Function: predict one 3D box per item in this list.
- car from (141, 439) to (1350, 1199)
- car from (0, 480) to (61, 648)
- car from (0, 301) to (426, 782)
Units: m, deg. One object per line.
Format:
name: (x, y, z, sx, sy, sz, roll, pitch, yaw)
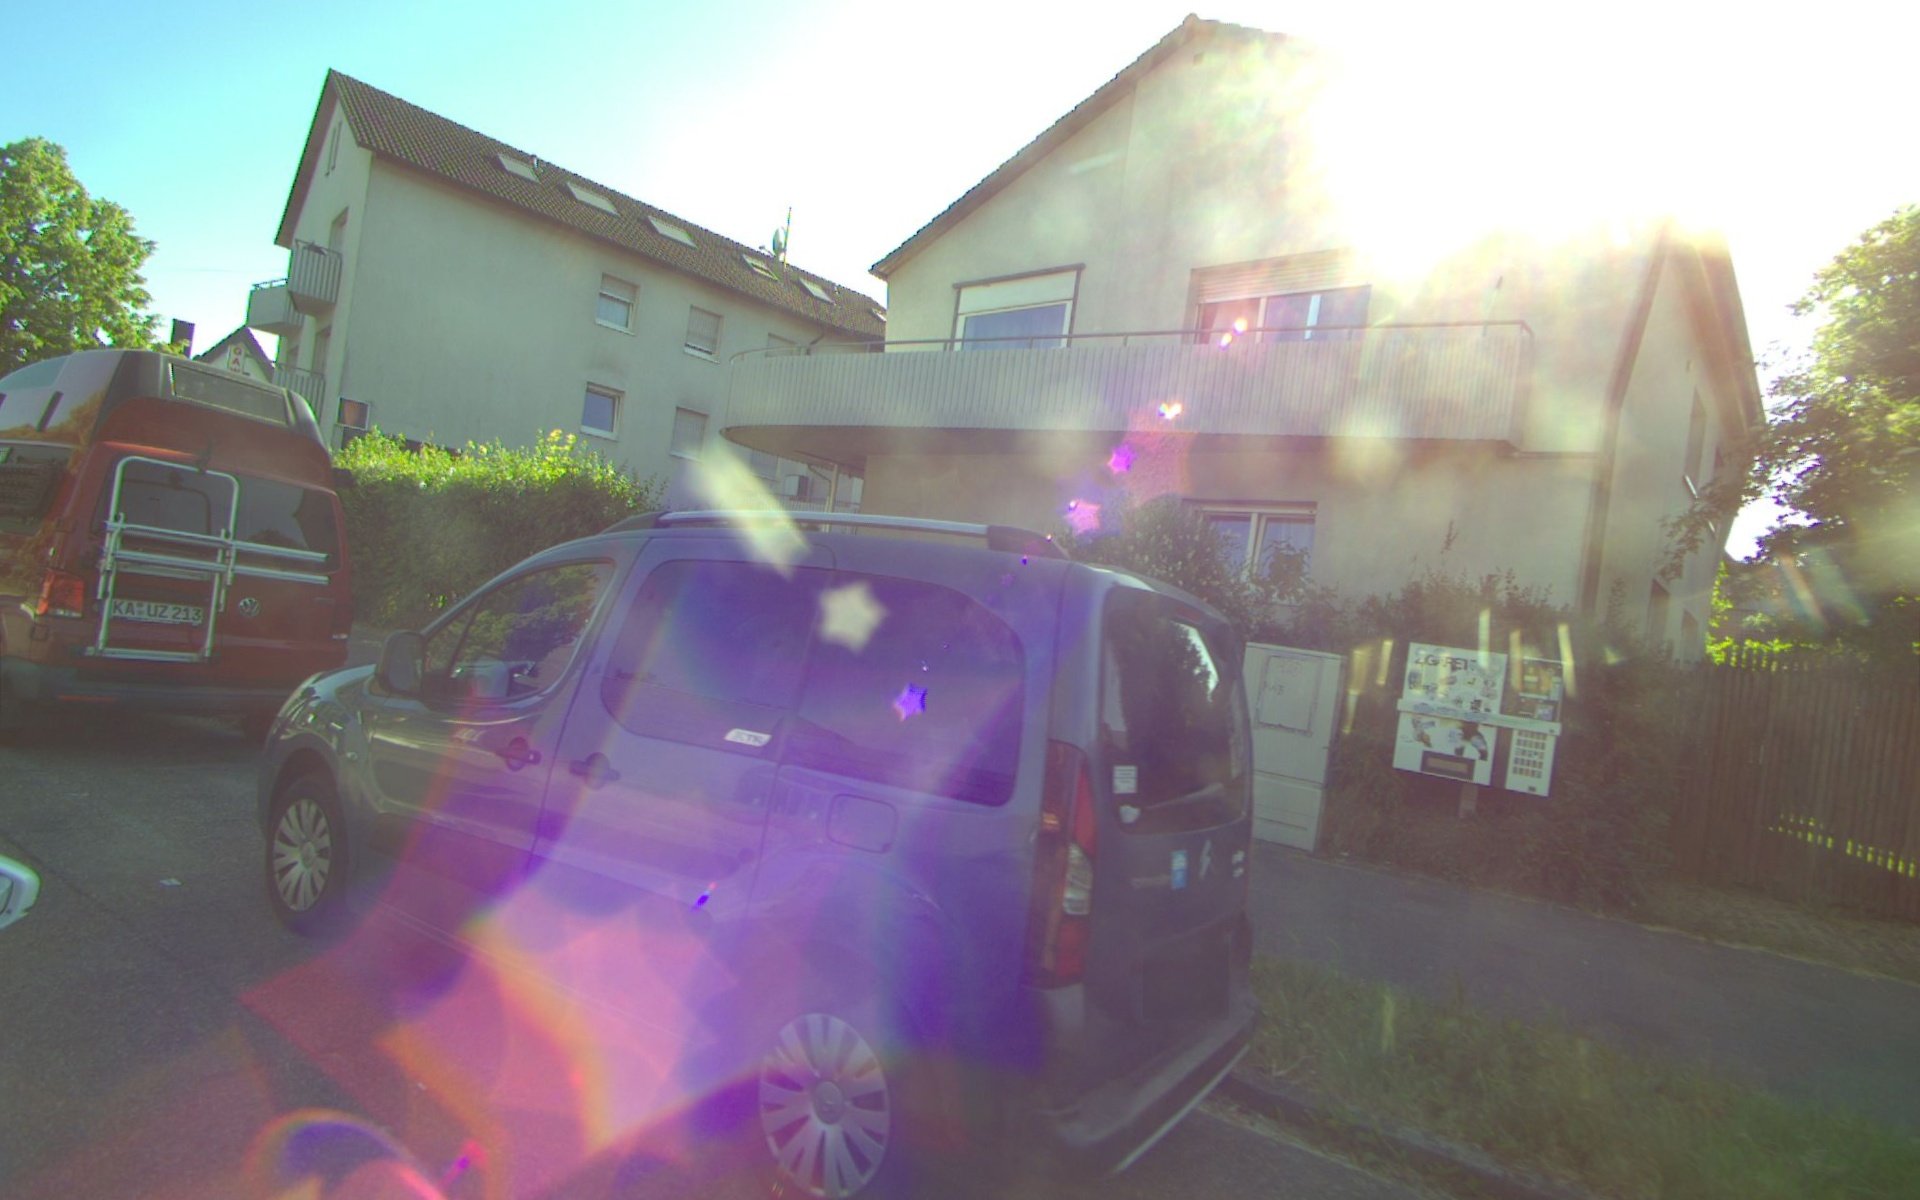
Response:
car: (-1.083, 0.573, 4.015, 4.485, 1.867, 1.862, 7, -4, 32)
car: (-12.442, -0.679, 11.458, 4.501, 1.757, 1.962, 7, -3, 32)
car: (-6.714, -0.486, 7.679, 5.135, 2.674, 1.962, 7, -2, 30)
